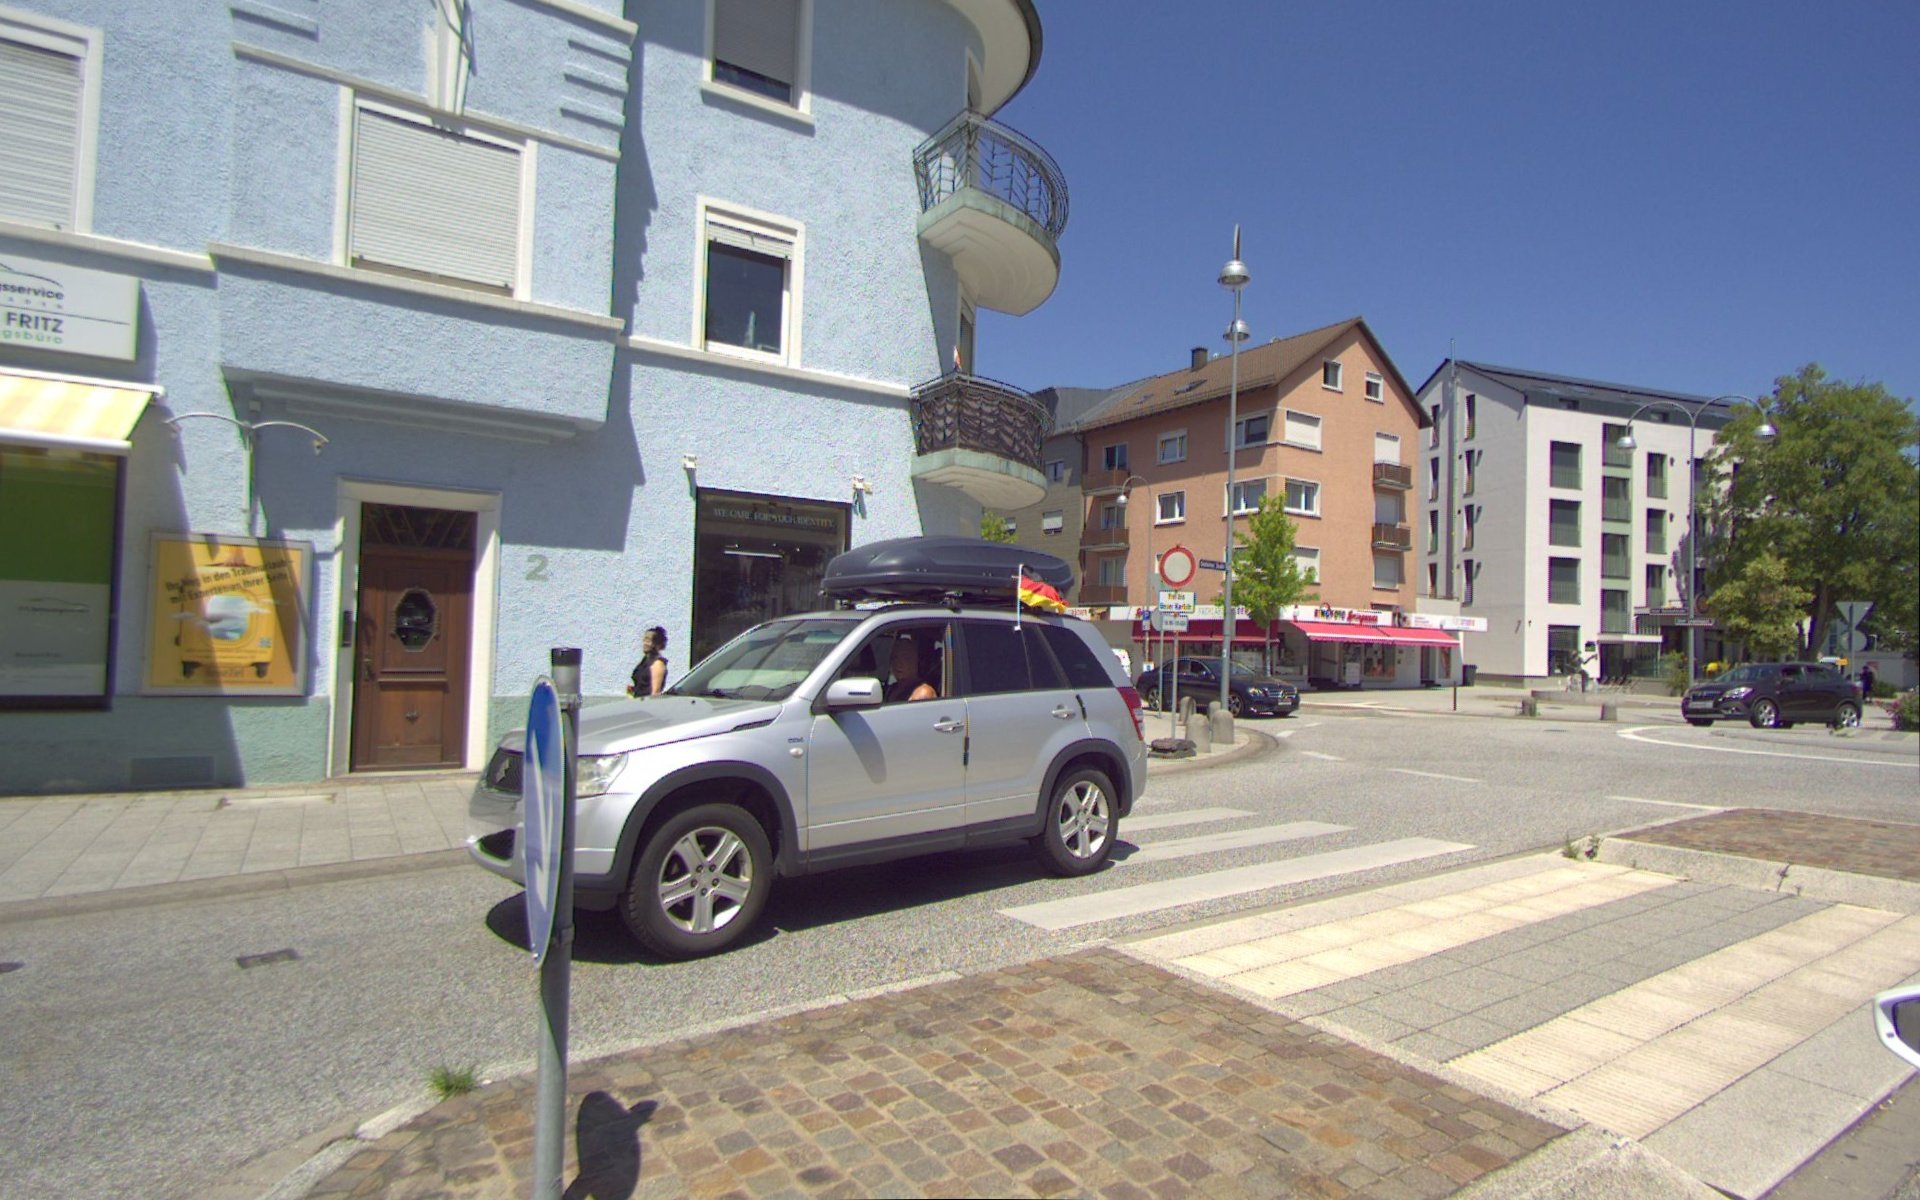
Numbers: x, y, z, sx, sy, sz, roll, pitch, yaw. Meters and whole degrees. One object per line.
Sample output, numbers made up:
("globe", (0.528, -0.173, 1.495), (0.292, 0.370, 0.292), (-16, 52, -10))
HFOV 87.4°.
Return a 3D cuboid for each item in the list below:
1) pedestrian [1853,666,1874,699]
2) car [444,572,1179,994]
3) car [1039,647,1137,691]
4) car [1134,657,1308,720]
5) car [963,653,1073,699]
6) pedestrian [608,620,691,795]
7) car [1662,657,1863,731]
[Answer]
("pedestrian", (43.707, 3.994, 48.573), (0.553, 1.596, 0.534), (2, -3, -19))
("car", (-0.643, 0.869, 6.186), (4.171, 1.710, 1.816), (3, -4, -42))
("car", (5.502, 2.966, 43.537), (3.946, 1.772, 1.791), (-2, -4, 45))
("car", (6.665, 2.231, 26.145), (1.759, 1.421, 4.472), (3, -3, -30))
("car", (1.919, 2.582, 34.399), (1.761, 1.421, 3.914), (3, -3, -34))
("pedestrian", (-2.963, 1.006, 9.602), (0.535, 1.605, 0.515), (0, -3, 12))
("car", (19.712, 2.293, 24.727), (3.990, 1.663, 1.800), (2, -3, -13))
